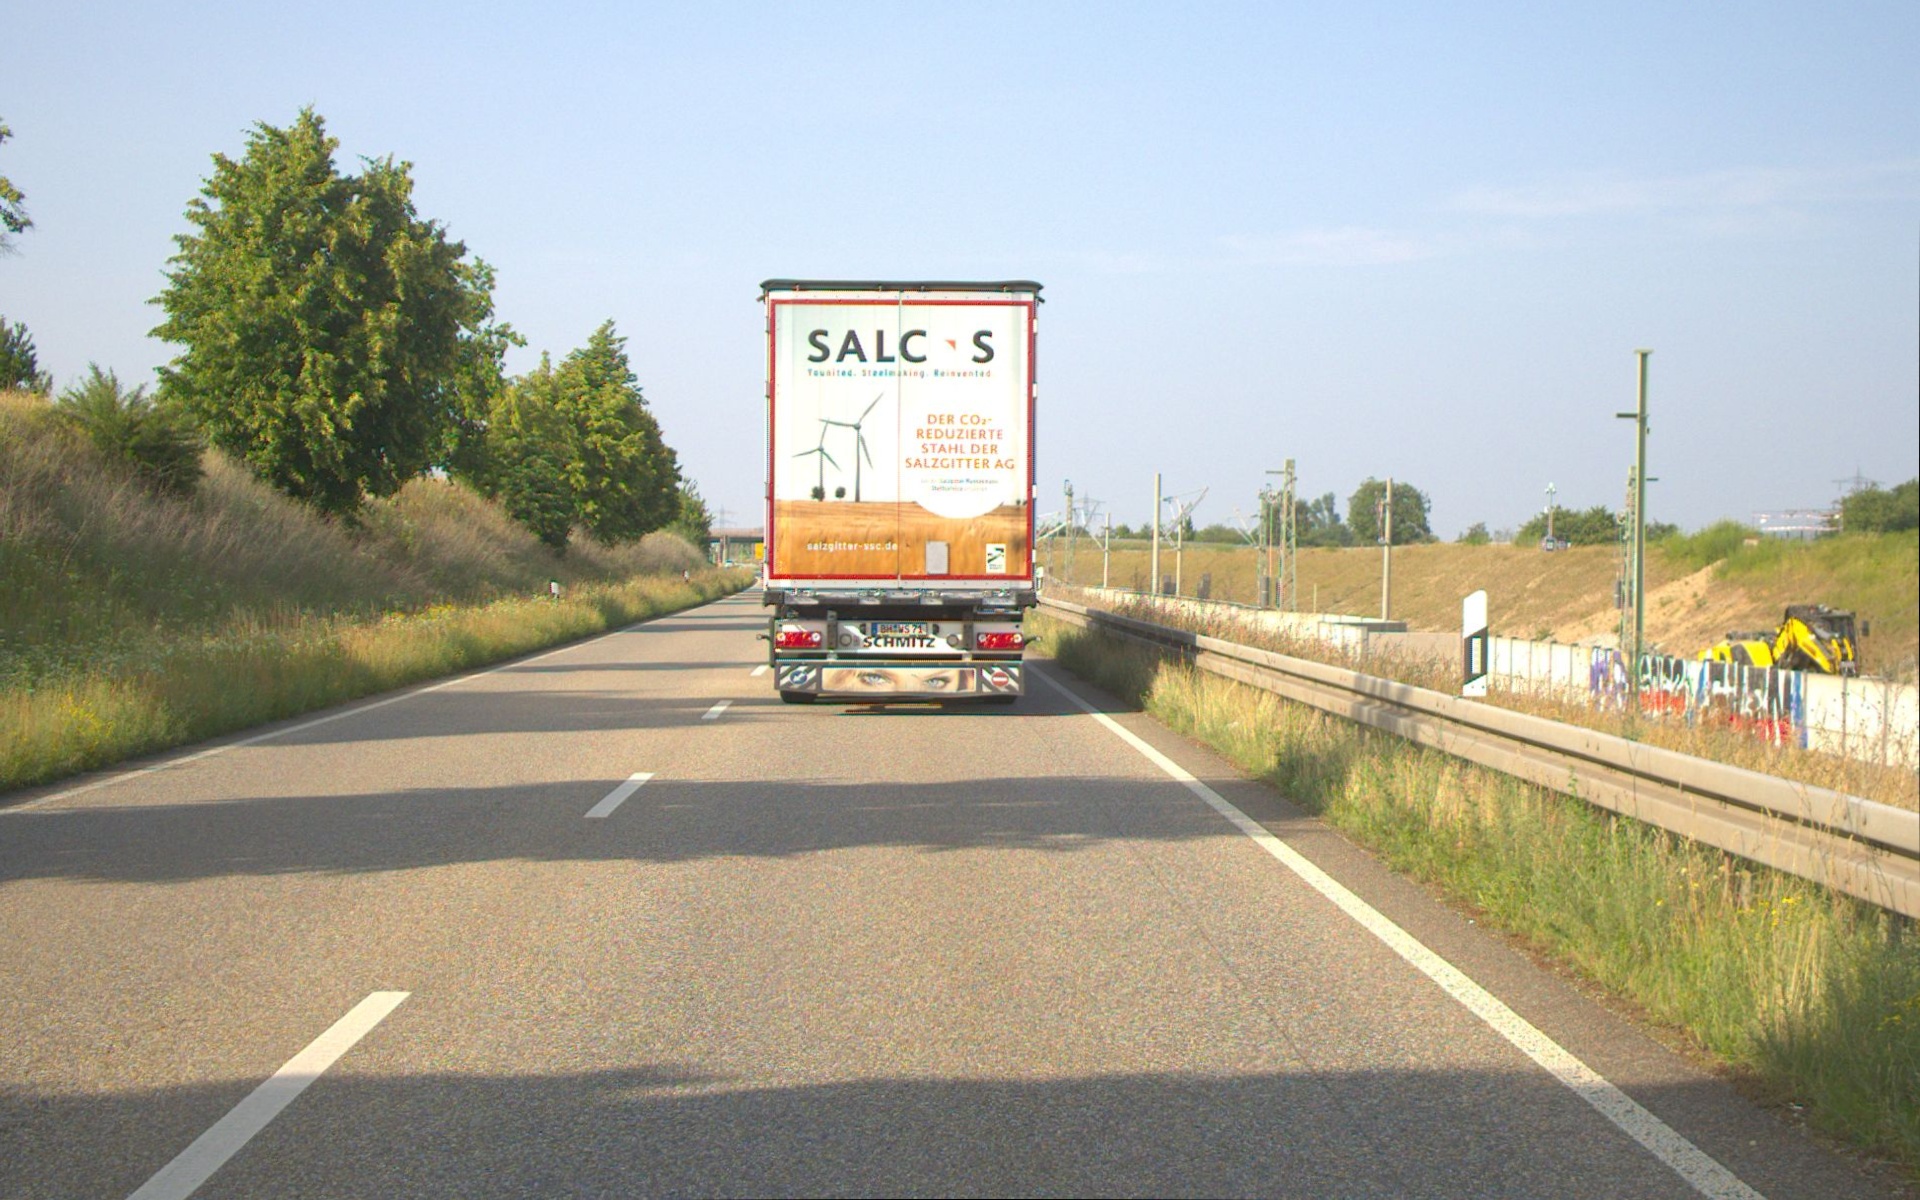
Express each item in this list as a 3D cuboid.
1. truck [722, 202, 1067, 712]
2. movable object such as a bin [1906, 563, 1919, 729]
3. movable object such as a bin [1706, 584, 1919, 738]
[{"bbox_3d":[-0.638,-1.376,35.723,3.153,4.672,8.442,0,1,-1],"label":"truck"},{"bbox_3d":[23.962,1.150,77.744,2.796,3.872,7.539,1,1,-2],"label":"movable object such as a bin"},{"bbox_3d":[19.449,1.319,78.889,2.621,3.228,8.074,1,1,-2],"label":"movable object such as a bin"}]
